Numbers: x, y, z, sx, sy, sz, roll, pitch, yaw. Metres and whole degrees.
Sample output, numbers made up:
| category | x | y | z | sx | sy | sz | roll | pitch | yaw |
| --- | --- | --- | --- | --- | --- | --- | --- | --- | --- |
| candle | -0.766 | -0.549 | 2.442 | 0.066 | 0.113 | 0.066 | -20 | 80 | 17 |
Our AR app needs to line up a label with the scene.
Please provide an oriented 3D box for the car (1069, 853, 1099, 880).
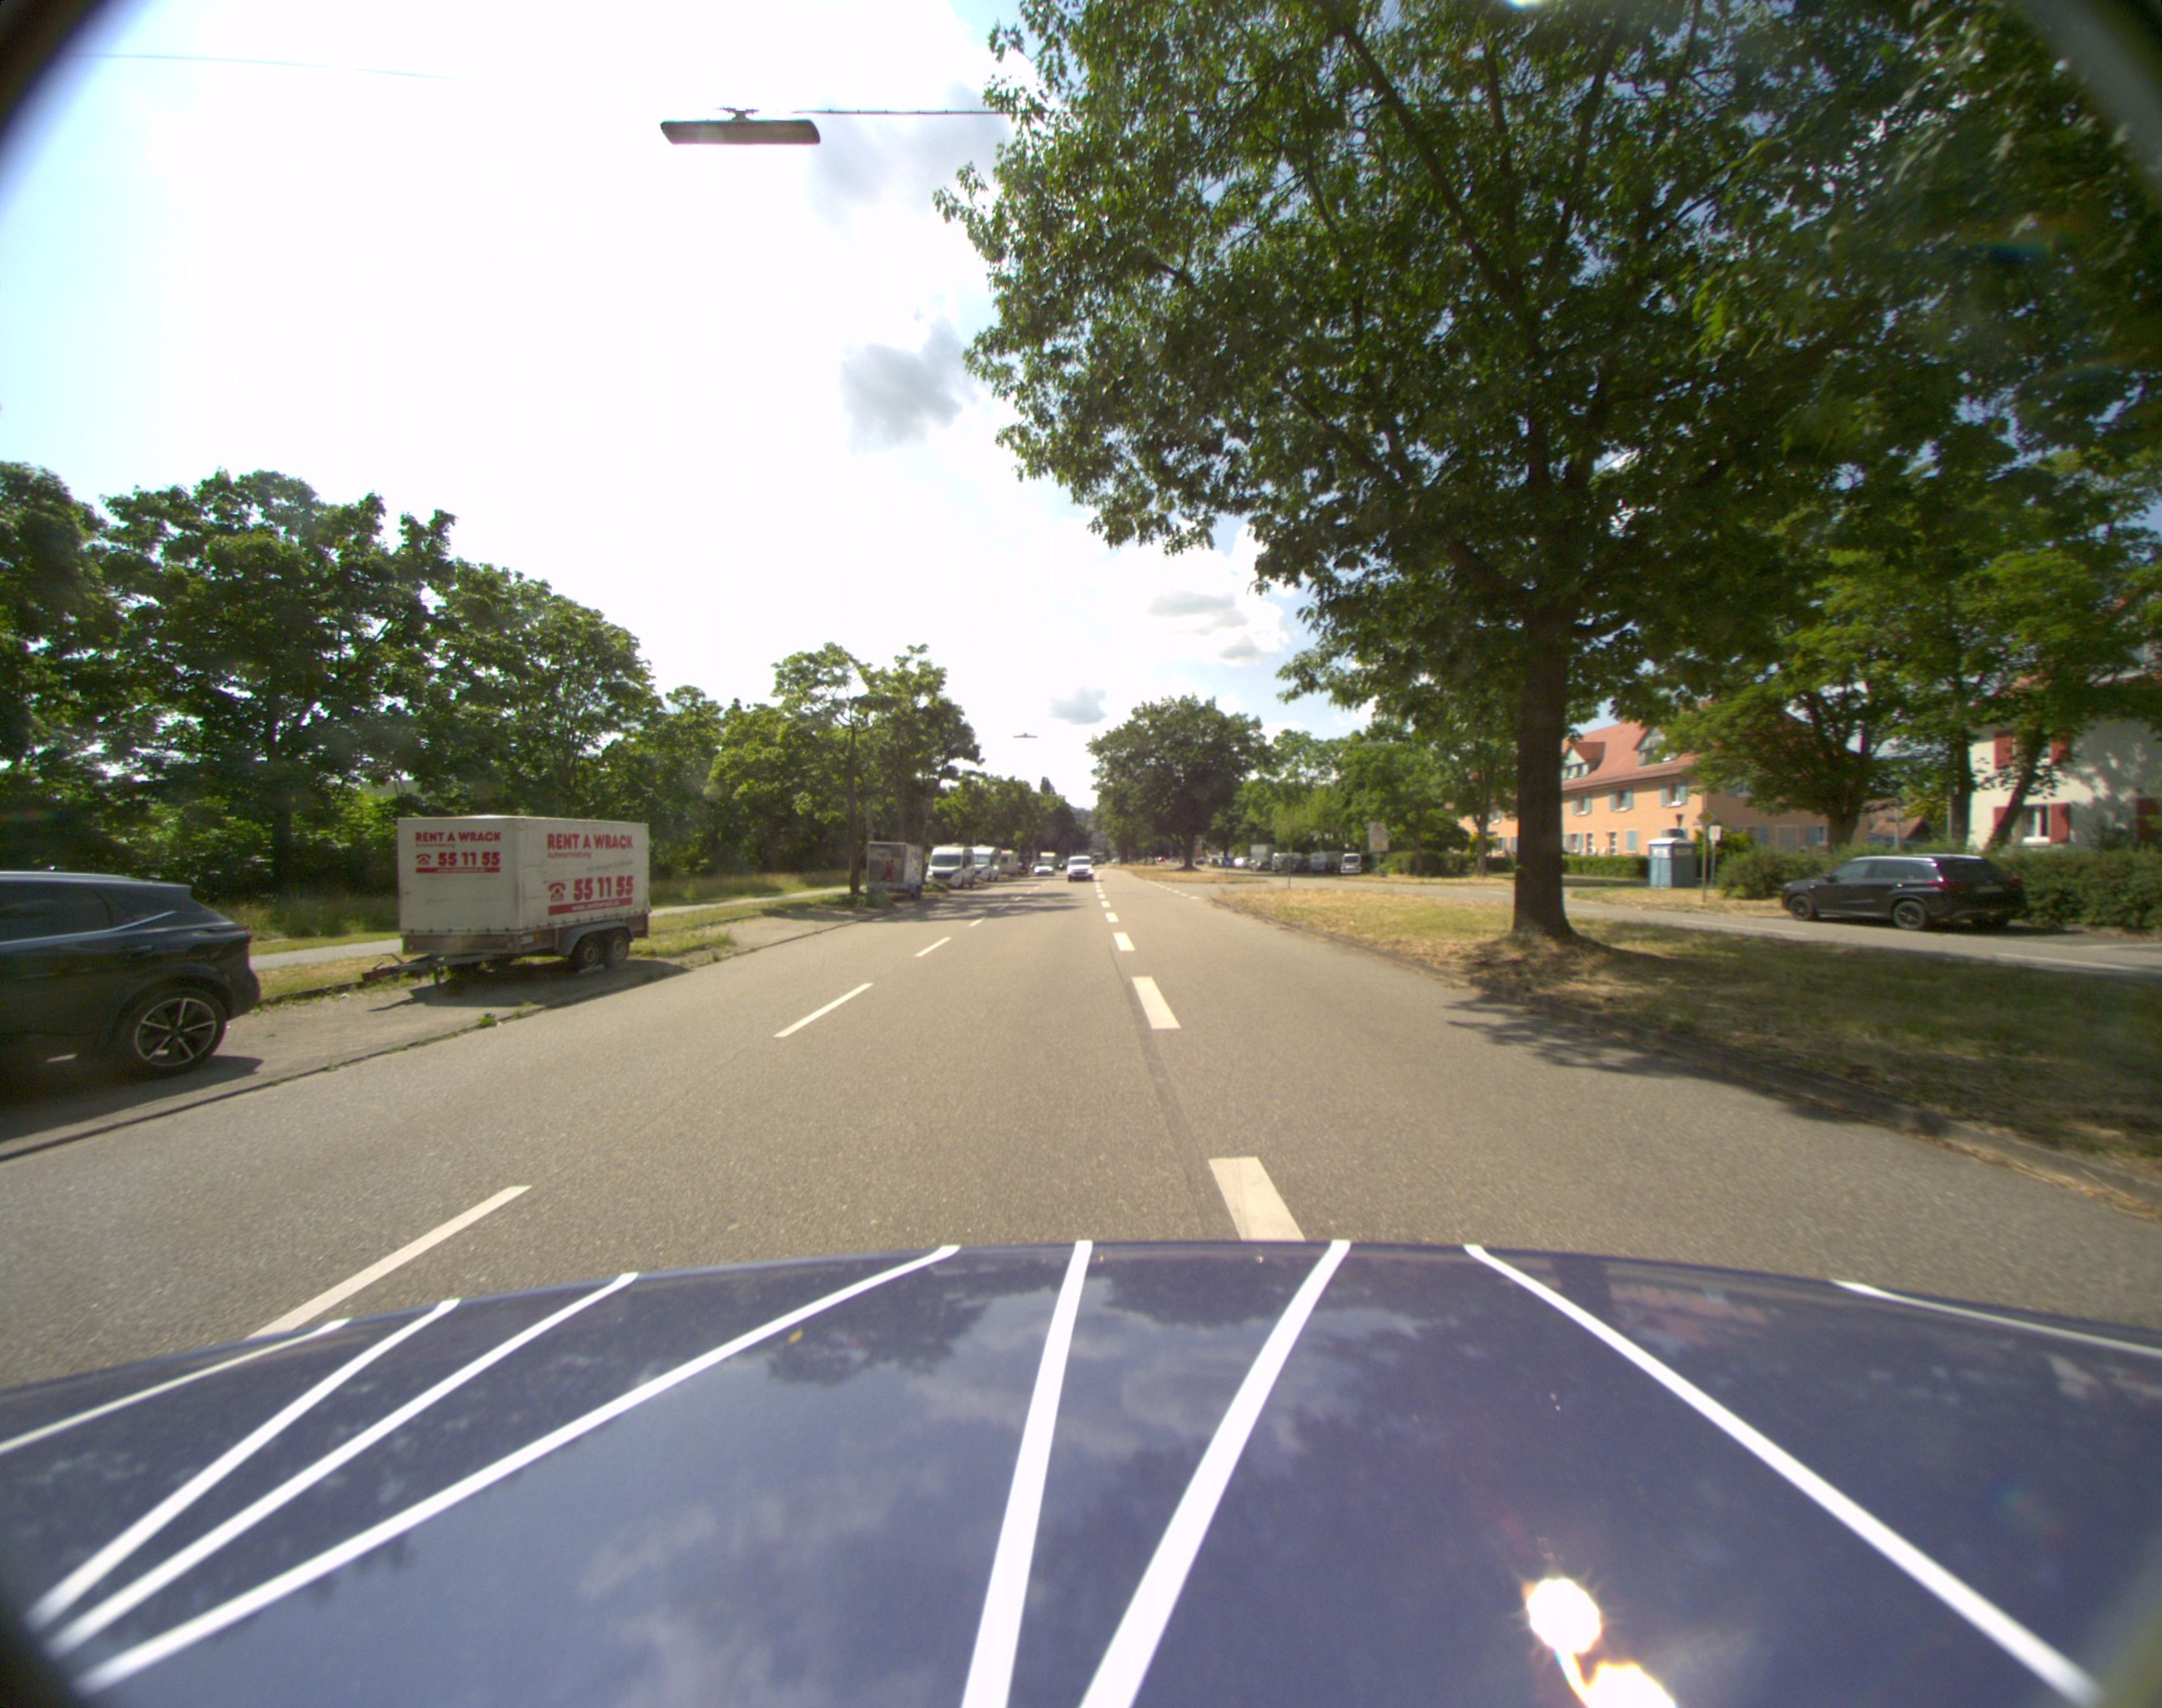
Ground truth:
| category | x | y | z | sx | sy | sz | roll | pitch | yaw |
| --- | --- | --- | --- | --- | --- | --- | --- | --- | --- |
| car | 0.249 | 0.898 | 54.461 | 1.935 | 1.774 | 4.716 | -3 | 0 | 2 |

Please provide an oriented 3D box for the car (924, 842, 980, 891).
| category | x | y | z | sx | sy | sz | roll | pitch | yaw |
| --- | --- | --- | --- | --- | --- | --- | --- | --- | --- |
| car | -7.638 | 0.663 | 45.724 | 2.181 | 2.680 | 6.150 | -3 | 1 | 0 |

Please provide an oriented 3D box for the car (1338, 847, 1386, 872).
| category | x | y | z | sx | sy | sz | roll | pitch | yaw |
| --- | --- | --- | --- | --- | --- | --- | --- | --- | --- |
| car | 22.159 | 0.410 | 59.885 | 4.008 | 1.849 | 1.800 | -1 | 0 | -42 |

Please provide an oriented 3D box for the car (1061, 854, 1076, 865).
| category | x | y | z | sx | sy | sz | roll | pitch | yaw |
| --- | --- | --- | --- | --- | --- | --- | --- | --- | --- |
| car | -1.723 | 0.766 | 103.779 | 1.892 | 1.281 | 3.999 | -3 | 1 | 0 |

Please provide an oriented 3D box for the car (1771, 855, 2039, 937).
| category | x | y | z | sx | sy | sz | roll | pitch | yaw |
| --- | --- | --- | --- | --- | --- | --- | --- | --- | --- |
| car | 18.489 | 0.846 | 17.371 | 1.771 | 1.543 | 3.999 | -3 | 1 | 0 |

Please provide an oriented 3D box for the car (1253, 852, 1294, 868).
| category | x | y | z | sx | sy | sz | roll | pitch | yaw |
| --- | --- | --- | --- | --- | --- | --- | --- | --- | --- |
| car | 21.034 | 0.627 | 83.189 | 3.996 | 1.501 | 1.800 | -3 | 1 | 1 |

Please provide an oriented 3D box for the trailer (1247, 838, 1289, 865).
| category | x | y | z | sx | sy | sz | roll | pitch | yaw |
| --- | --- | --- | --- | --- | --- | --- | --- | --- | --- |
| trailer | 23.450 | -0.356 | 95.166 | 2.820 | 3.090 | 5.764 | -3 | 0 | 39 |

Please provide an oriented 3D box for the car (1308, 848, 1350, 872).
| category | x | y | z | sx | sy | sz | roll | pitch | yaw |
| --- | --- | --- | --- | --- | --- | --- | --- | --- | --- |
| car | 22.628 | 0.527 | 69.300 | 4.007 | 2.002 | 1.800 | -3 | 1 | -42 |

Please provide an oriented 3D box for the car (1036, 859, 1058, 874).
| category | x | y | z | sx | sy | sz | roll | pitch | yaw |
| --- | --- | --- | --- | --- | --- | --- | --- | --- | --- |
| car | -3.279 | 1.205 | 74.346 | 1.892 | 1.281 | 3.999 | -3 | 1 | 0 |

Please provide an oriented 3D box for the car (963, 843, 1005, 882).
| category | x | y | z | sx | sy | sz | roll | pitch | yaw |
| --- | --- | --- | --- | --- | --- | --- | --- | --- | --- |
| car | -7.441 | 0.566 | 58.887 | 2.262 | 2.786 | 6.767 | 2 | 1 | 0 |

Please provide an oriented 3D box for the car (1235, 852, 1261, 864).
| category | x | y | z | sx | sy | sz | roll | pitch | yaw |
| --- | --- | --- | --- | --- | --- | --- | --- | --- | --- |
| car | 23.295 | 0.611 | 105.927 | 1.668 | 1.455 | 3.827 | -2 | 1 | 43 |

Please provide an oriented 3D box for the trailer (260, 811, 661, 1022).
| category | x | y | z | sx | sy | sz | roll | pitch | yaw |
| --- | --- | --- | --- | --- | --- | --- | --- | --- | --- |
| trailer | -8.189 | 0.688 | 10.786 | 1.957 | 2.338 | 4.605 | 1 | 0 | -1 |

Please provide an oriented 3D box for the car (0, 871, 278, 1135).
| category | x | y | z | sx | sy | sz | roll | pitch | yaw |
| --- | --- | --- | --- | --- | --- | --- | --- | --- | --- |
| car | -7.913 | 1.014 | 4.508 | 1.595 | 1.681 | 4.362 | 0 | 1 | 1 |

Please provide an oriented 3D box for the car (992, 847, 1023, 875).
| category | x | y | z | sx | sy | sz | roll | pitch | yaw |
| --- | --- | --- | --- | --- | --- | --- | --- | --- | --- |
| car | -7.012 | 0.609 | 72.946 | 2.262 | 2.526 | 6.767 | 1 | 1 | 0 |

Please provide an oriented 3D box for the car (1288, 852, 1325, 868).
| category | x | y | z | sx | sy | sz | roll | pitch | yaw |
| --- | --- | --- | --- | --- | --- | --- | --- | --- | --- |
| car | 22.354 | 0.570 | 75.351 | 4.007 | 1.390 | 1.569 | -3 | 1 | -42 |

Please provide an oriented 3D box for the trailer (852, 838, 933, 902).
| category | x | y | z | sx | sy | sz | roll | pitch | yaw |
| --- | --- | --- | --- | --- | --- | --- | --- | --- | --- |
| trailer | -7.703 | 0.583 | 31.607 | 1.998 | 2.352 | 4.781 | 3 | 1 | 1 |

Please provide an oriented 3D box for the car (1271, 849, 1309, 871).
| category | x | y | z | sx | sy | sz | roll | pitch | yaw |
| --- | --- | --- | --- | --- | --- | --- | --- | --- | --- |
| car | 21.538 | 0.584 | 78.160 | 4.007 | 2.002 | 1.800 | -3 | 1 | -42 |
